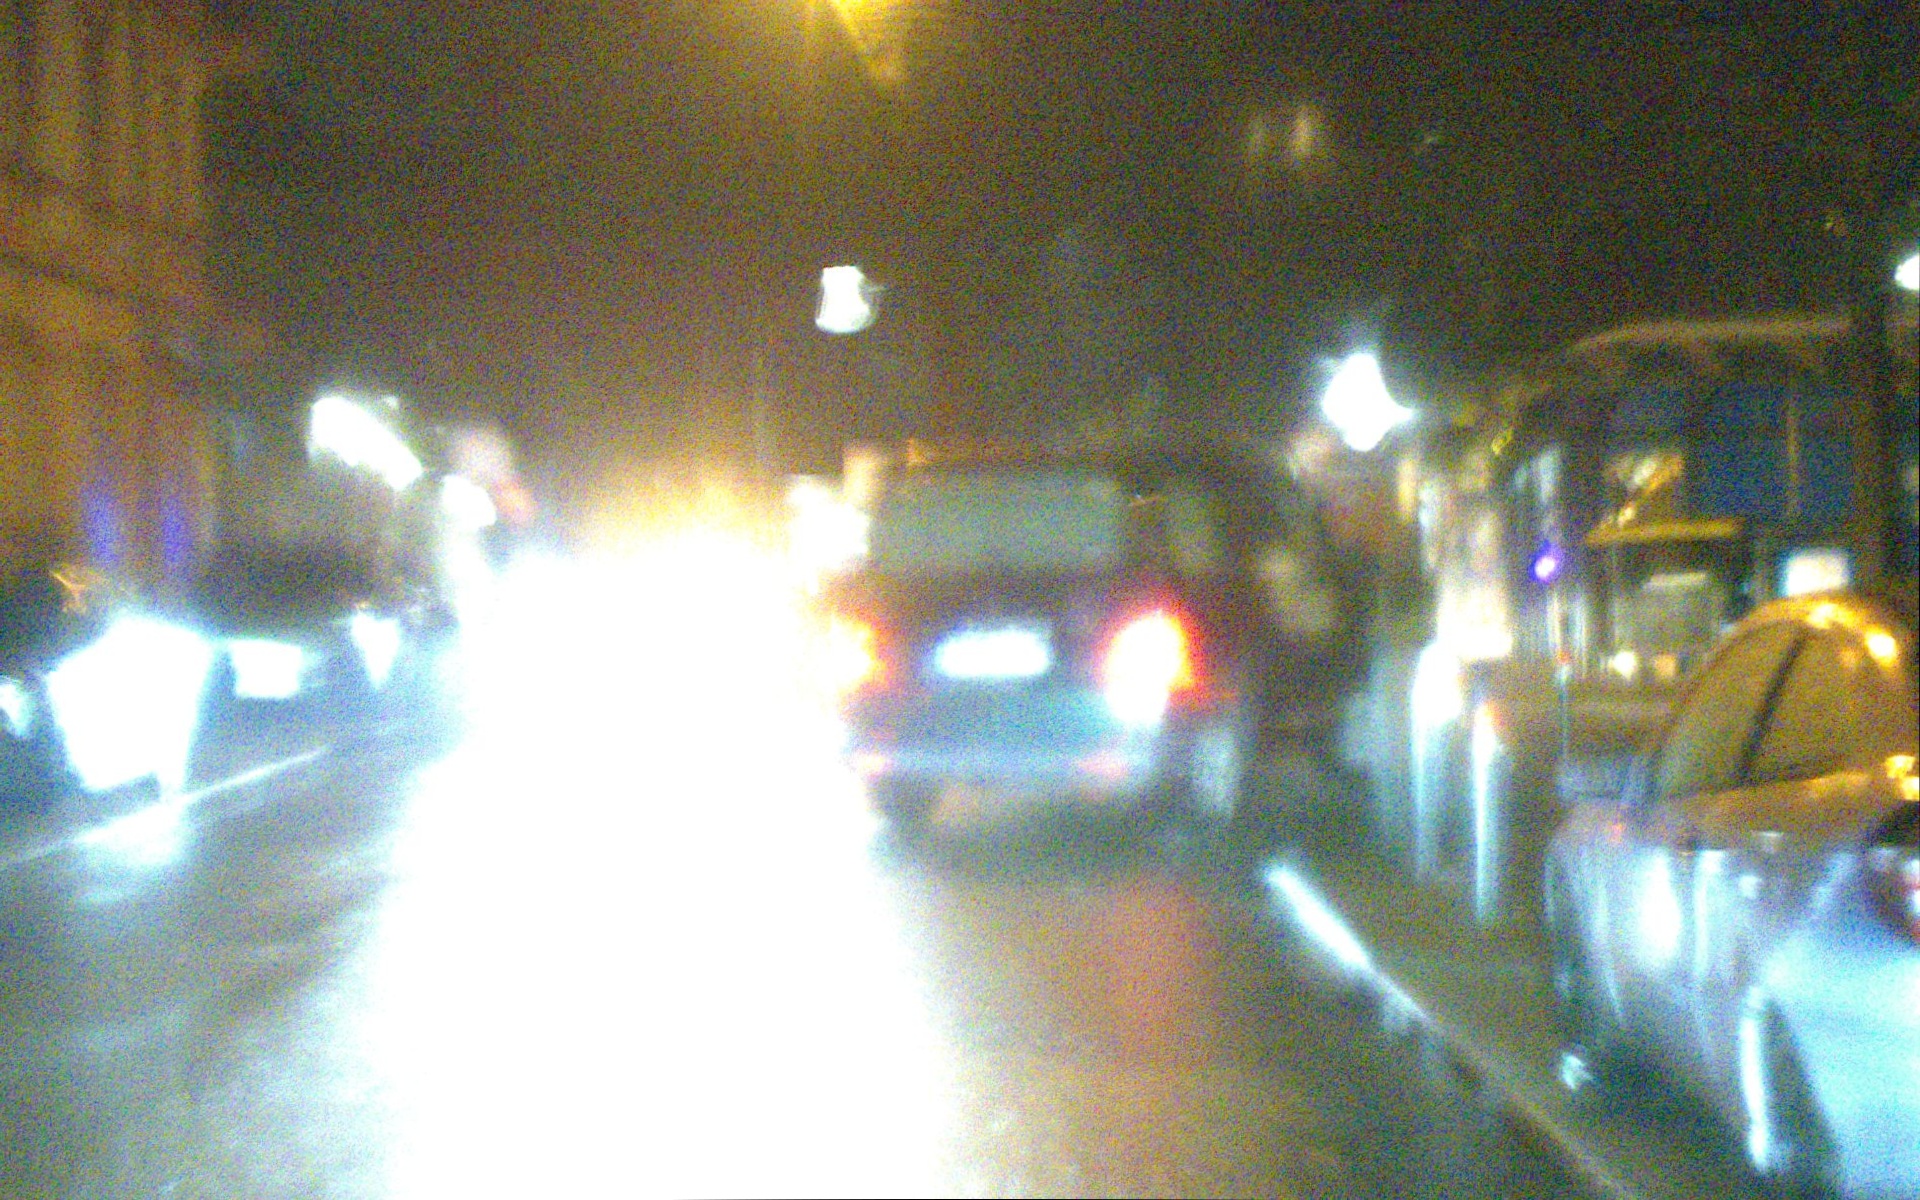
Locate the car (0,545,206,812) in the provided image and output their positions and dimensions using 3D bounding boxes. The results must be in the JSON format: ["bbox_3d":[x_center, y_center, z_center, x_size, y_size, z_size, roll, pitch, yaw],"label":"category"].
[{"bbox_3d":[-6.088,0.412,21.364,1.832,1.481,4.595,0,1,-1],"label":"car"}]

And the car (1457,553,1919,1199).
[{"bbox_3d":[2.431,0.605,7.758,1.917,1.407,4.000,-1,1,-2],"label":"car"}]

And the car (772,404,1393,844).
[{"bbox_3d":[0.829,0.073,18.497,1.998,2.042,4.689,0,1,20],"label":"car"}]

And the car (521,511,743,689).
[{"bbox_3d":[-3.261,-0.041,34.955,1.920,1.612,4.575,-2,1,-2],"label":"car"}]

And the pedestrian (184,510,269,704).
[{"bbox_3d":[-7.558,0.071,35.455,0.656,1.967,0.770,2,0,1],"label":"pedestrian"}]

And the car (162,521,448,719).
[{"bbox_3d":[-6.030,0.142,32.152,1.832,1.711,4.595,0,1,-1],"label":"car"}]
